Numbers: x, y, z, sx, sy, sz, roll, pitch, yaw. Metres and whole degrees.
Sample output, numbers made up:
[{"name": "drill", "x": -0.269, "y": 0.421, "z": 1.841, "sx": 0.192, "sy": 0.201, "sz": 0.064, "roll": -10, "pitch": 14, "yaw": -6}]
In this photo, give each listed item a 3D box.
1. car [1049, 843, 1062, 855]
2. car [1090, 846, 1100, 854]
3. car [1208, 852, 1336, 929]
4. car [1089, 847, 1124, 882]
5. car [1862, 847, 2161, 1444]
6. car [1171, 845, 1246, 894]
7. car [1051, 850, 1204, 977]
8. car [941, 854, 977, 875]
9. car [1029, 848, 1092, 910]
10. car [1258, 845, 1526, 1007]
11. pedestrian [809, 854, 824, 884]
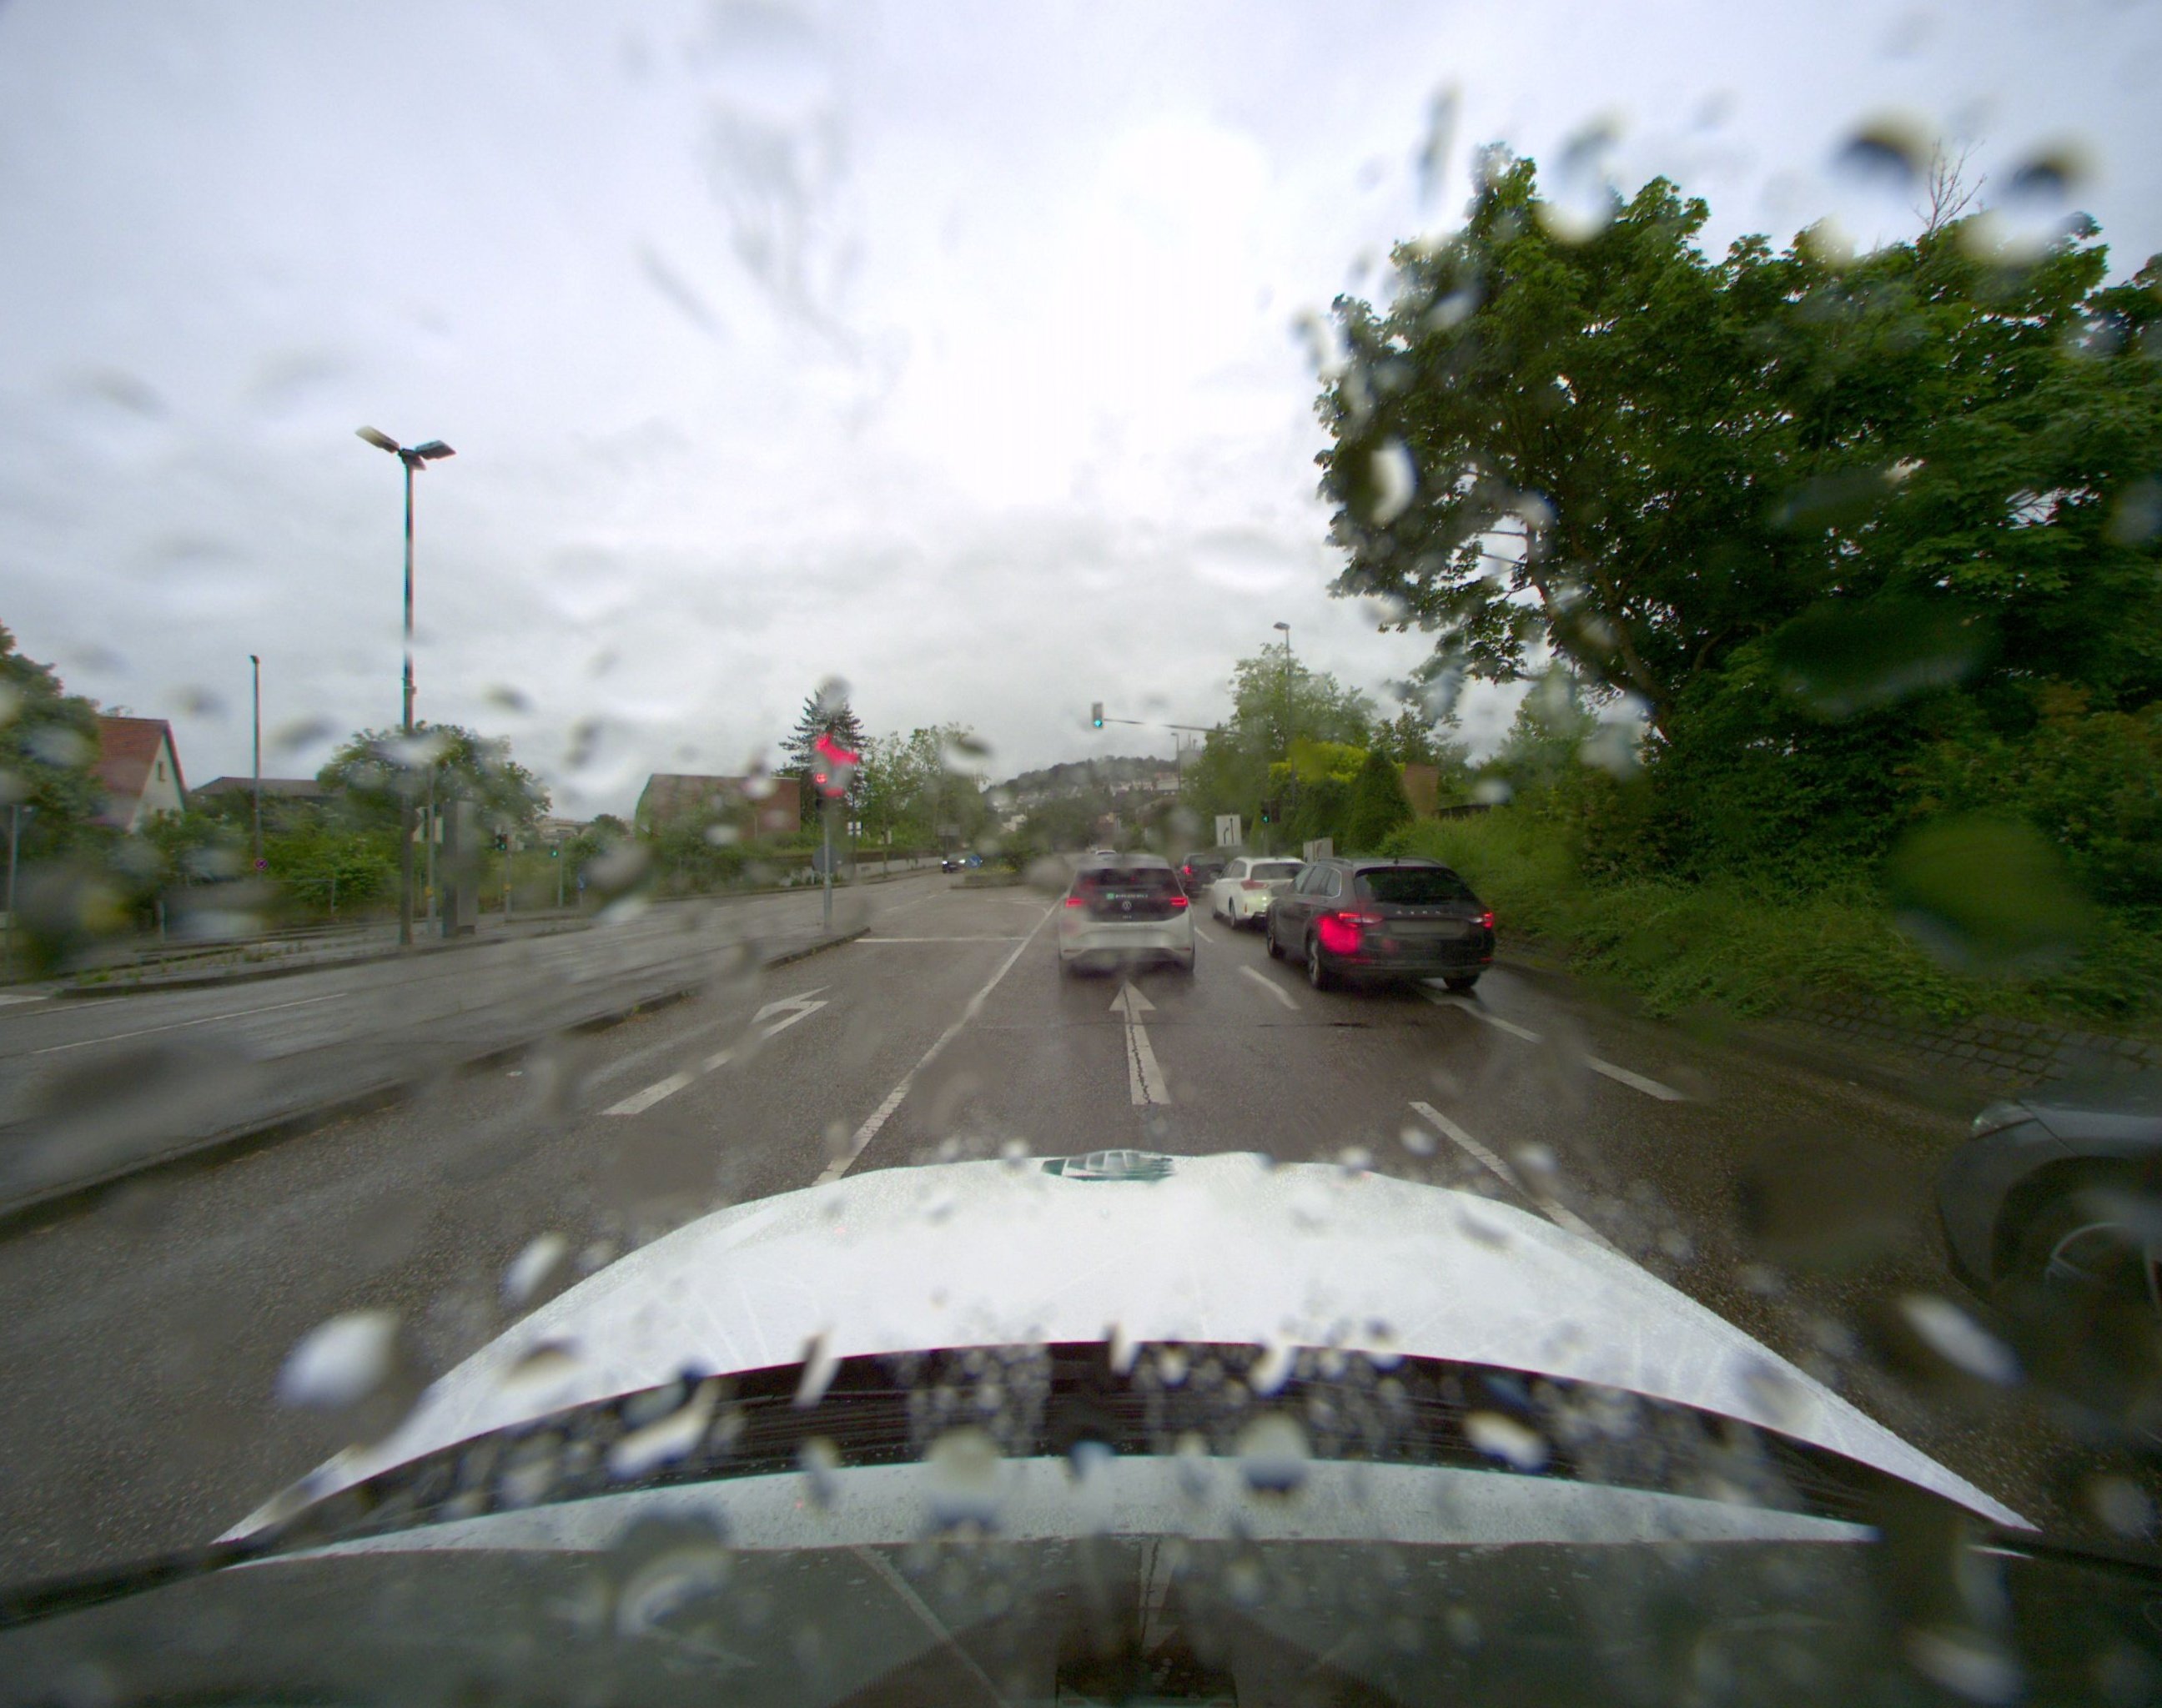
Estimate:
[{"name": "car", "x": -4.364, "y": -0.773, "z": 140.472, "sx": 1.987, "sy": 2.014, "sz": 3.999, "roll": 0, "pitch": -1, "yaw": 0}, {"name": "car", "x": 2.533, "y": -0.717, "z": 149.574, "sx": 1.732, "sy": 1.464, "sz": 3.999, "roll": 0, "pitch": -1, "yaw": 0}, {"name": "car", "x": 3.901, "y": 0.690, "z": 17.363, "sx": 1.841, "sy": 1.410, "sz": 4.303, "roll": -1, "pitch": 0, "yaw": 2}, {"name": "car", "x": 1.524, "y": 0.607, "z": 48.201, "sx": 1.986, "sy": 2.014, "sz": 4.001, "roll": -1, "pitch": 0, "yaw": 2}, {"name": "car", "x": 3.478, "y": 0.702, "z": 0.457, "sx": 1.824, "sy": 1.444, "sz": 4.552, "roll": 0, "pitch": 0, "yaw": 2}, {"name": "car", "x": 4.286, "y": 0.508, "z": 27.887, "sx": 1.986, "sy": 1.453, "sz": 3.772, "roll": -4, "pitch": 0, "yaw": 2}, {"name": "car", "x": 0.628, "y": 0.726, "z": 11.932, "sx": 1.822, "sy": 1.500, "sz": 4.170, "roll": -1, "pitch": 0, "yaw": 2}, {"name": "car", "x": -9.415, "y": 0.813, "z": 63.291, "sx": 1.943, "sy": 1.478, "sz": 4.297, "roll": -4, "pitch": 0, "yaw": 2}, {"name": "car", "x": -0.556, "y": 0.619, "z": 22.772, "sx": 1.562, "sy": 1.530, "sz": 3.999, "roll": -2, "pitch": 1, "yaw": -1}, {"name": "car", "x": 3.458, "y": 0.689, "z": 10.075, "sx": 1.944, "sy": 1.507, "sz": 4.615, "roll": 1, "pitch": 0, "yaw": 5}, {"name": "pedestrian", "x": -14.866, "y": 0.841, "z": 45.761, "sx": 0.546, "sy": 1.642, "sz": 0.503, "roll": -4, "pitch": 0, "yaw": 32}]
